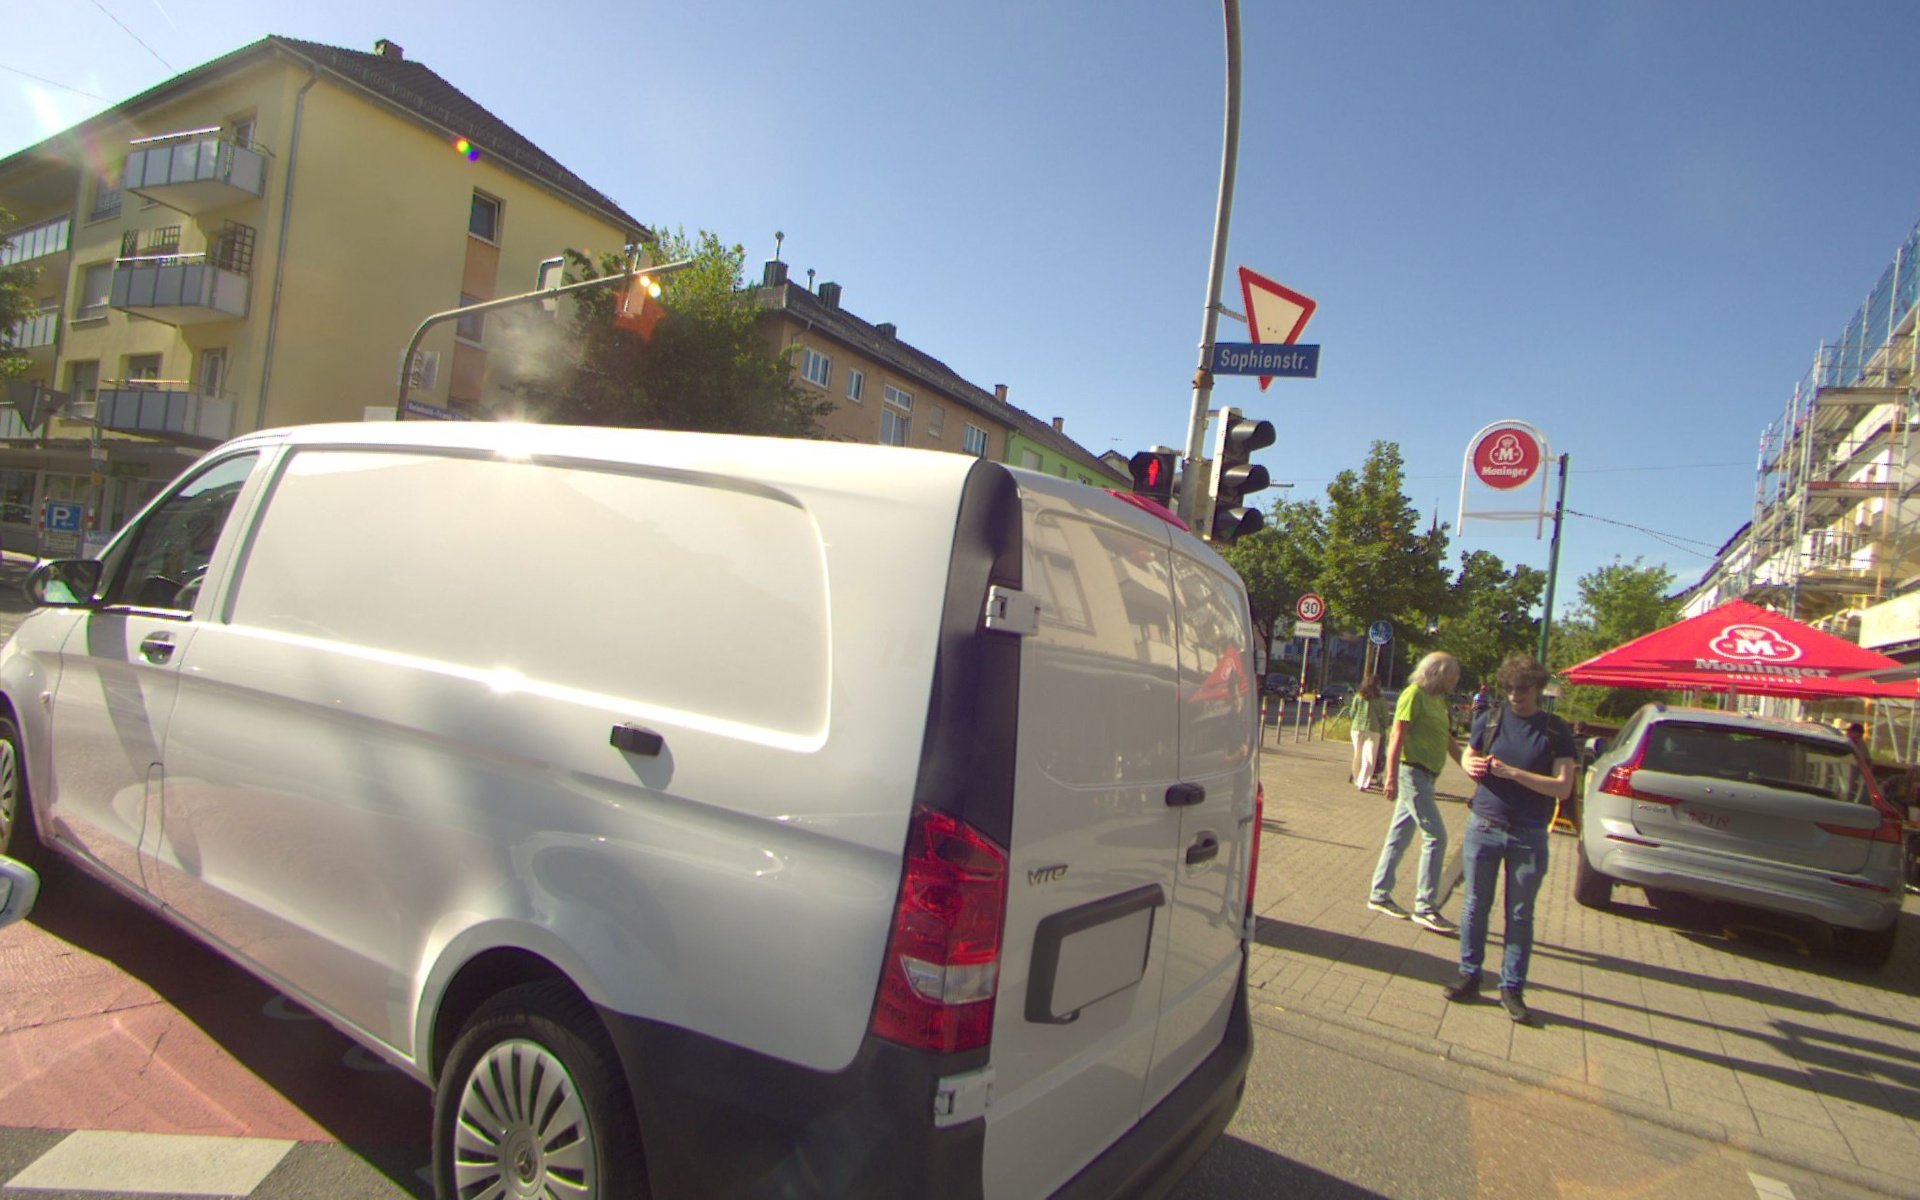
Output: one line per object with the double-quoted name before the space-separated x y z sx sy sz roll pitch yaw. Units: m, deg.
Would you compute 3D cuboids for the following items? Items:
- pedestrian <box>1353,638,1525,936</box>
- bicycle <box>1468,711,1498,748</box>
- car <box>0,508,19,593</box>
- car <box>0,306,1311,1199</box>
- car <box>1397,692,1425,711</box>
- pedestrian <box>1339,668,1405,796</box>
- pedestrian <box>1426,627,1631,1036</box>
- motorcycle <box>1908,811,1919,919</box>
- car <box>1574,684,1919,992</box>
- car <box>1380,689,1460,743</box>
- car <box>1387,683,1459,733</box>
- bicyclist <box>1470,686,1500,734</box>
"pedestrian" 3.202 1.200 6.717 0.752 1.778 0.662 6 -2 37
"bicycle" 16.227 4.006 31.252 0.643 0.961 2.004 7 -2 25
"car" -19.132 -1.119 18.559 3.423 1.501 1.715 6 -1 33
"car" -1.517 0.363 3.531 4.752 1.831 1.972 6 -2 31
"car" 38.355 8.642 85.594 1.657 1.428 3.518 7 -2 31
"pedestrian" 5.709 1.807 13.924 0.634 1.637 0.594 7 0 27
"pedestrian" 2.829 1.101 5.077 0.594 1.844 0.629 7 0 17
"motorcycle" 10.015 2.525 9.568 1.986 1.180 0.565 8 -1 -21
"car" 6.326 1.716 8.464 1.795 1.682 3.993 7 -2 32
"car" 14.484 3.625 31.587 1.686 1.329 3.994 6 -2 32
"car" 16.514 3.835 35.774 1.686 1.470 3.993 7 -2 32
"bicyclist" 16.279 3.403 31.223 0.643 1.380 0.883 7 -1 25
